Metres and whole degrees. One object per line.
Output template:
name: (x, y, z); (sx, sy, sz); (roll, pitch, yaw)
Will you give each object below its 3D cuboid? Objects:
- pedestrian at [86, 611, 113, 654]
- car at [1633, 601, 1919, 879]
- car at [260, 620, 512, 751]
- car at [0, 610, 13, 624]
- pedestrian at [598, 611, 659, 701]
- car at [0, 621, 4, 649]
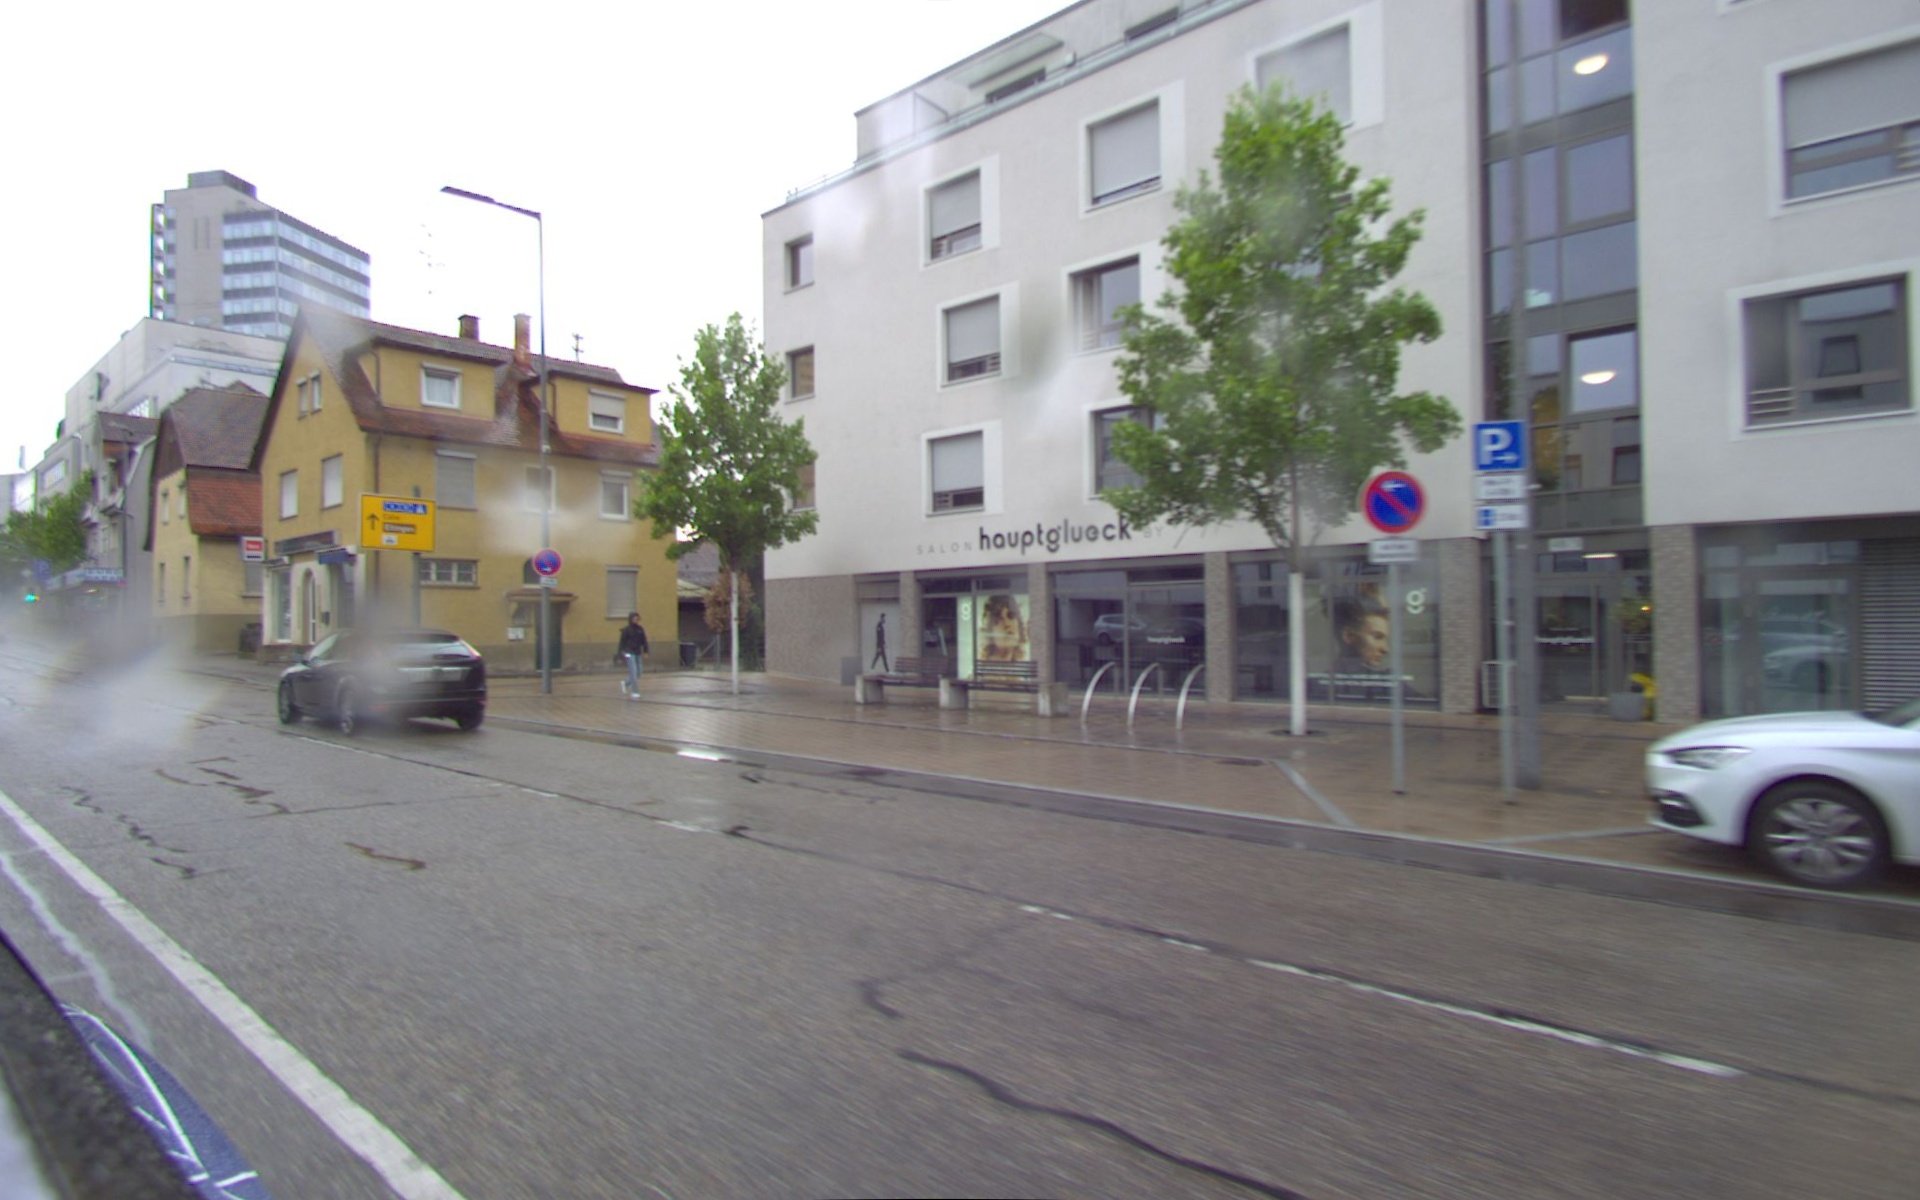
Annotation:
pedestrian: (-39.044, 1.467, 45.906); (0.944, 1.935, 0.656); (0, 1, 33)
car: (6.422, 0.768, 5.492); (4.474, 1.474, 1.777); (0, -1, 39)
car: (-8.389, 1.112, 14.641); (4.182, 1.535, 1.861); (0, -1, 41)
car: (-100.460, 1.741, 105.777); (3.728, 1.421, 1.735); (0, -1, 41)
pedestrian: (-6.899, 1.148, 21.093); (0.879, 1.801, 0.794); (0, -1, 32)
car: (-51.905, 1.780, 53.453); (4.137, 1.428, 1.632); (0, -3, 42)
